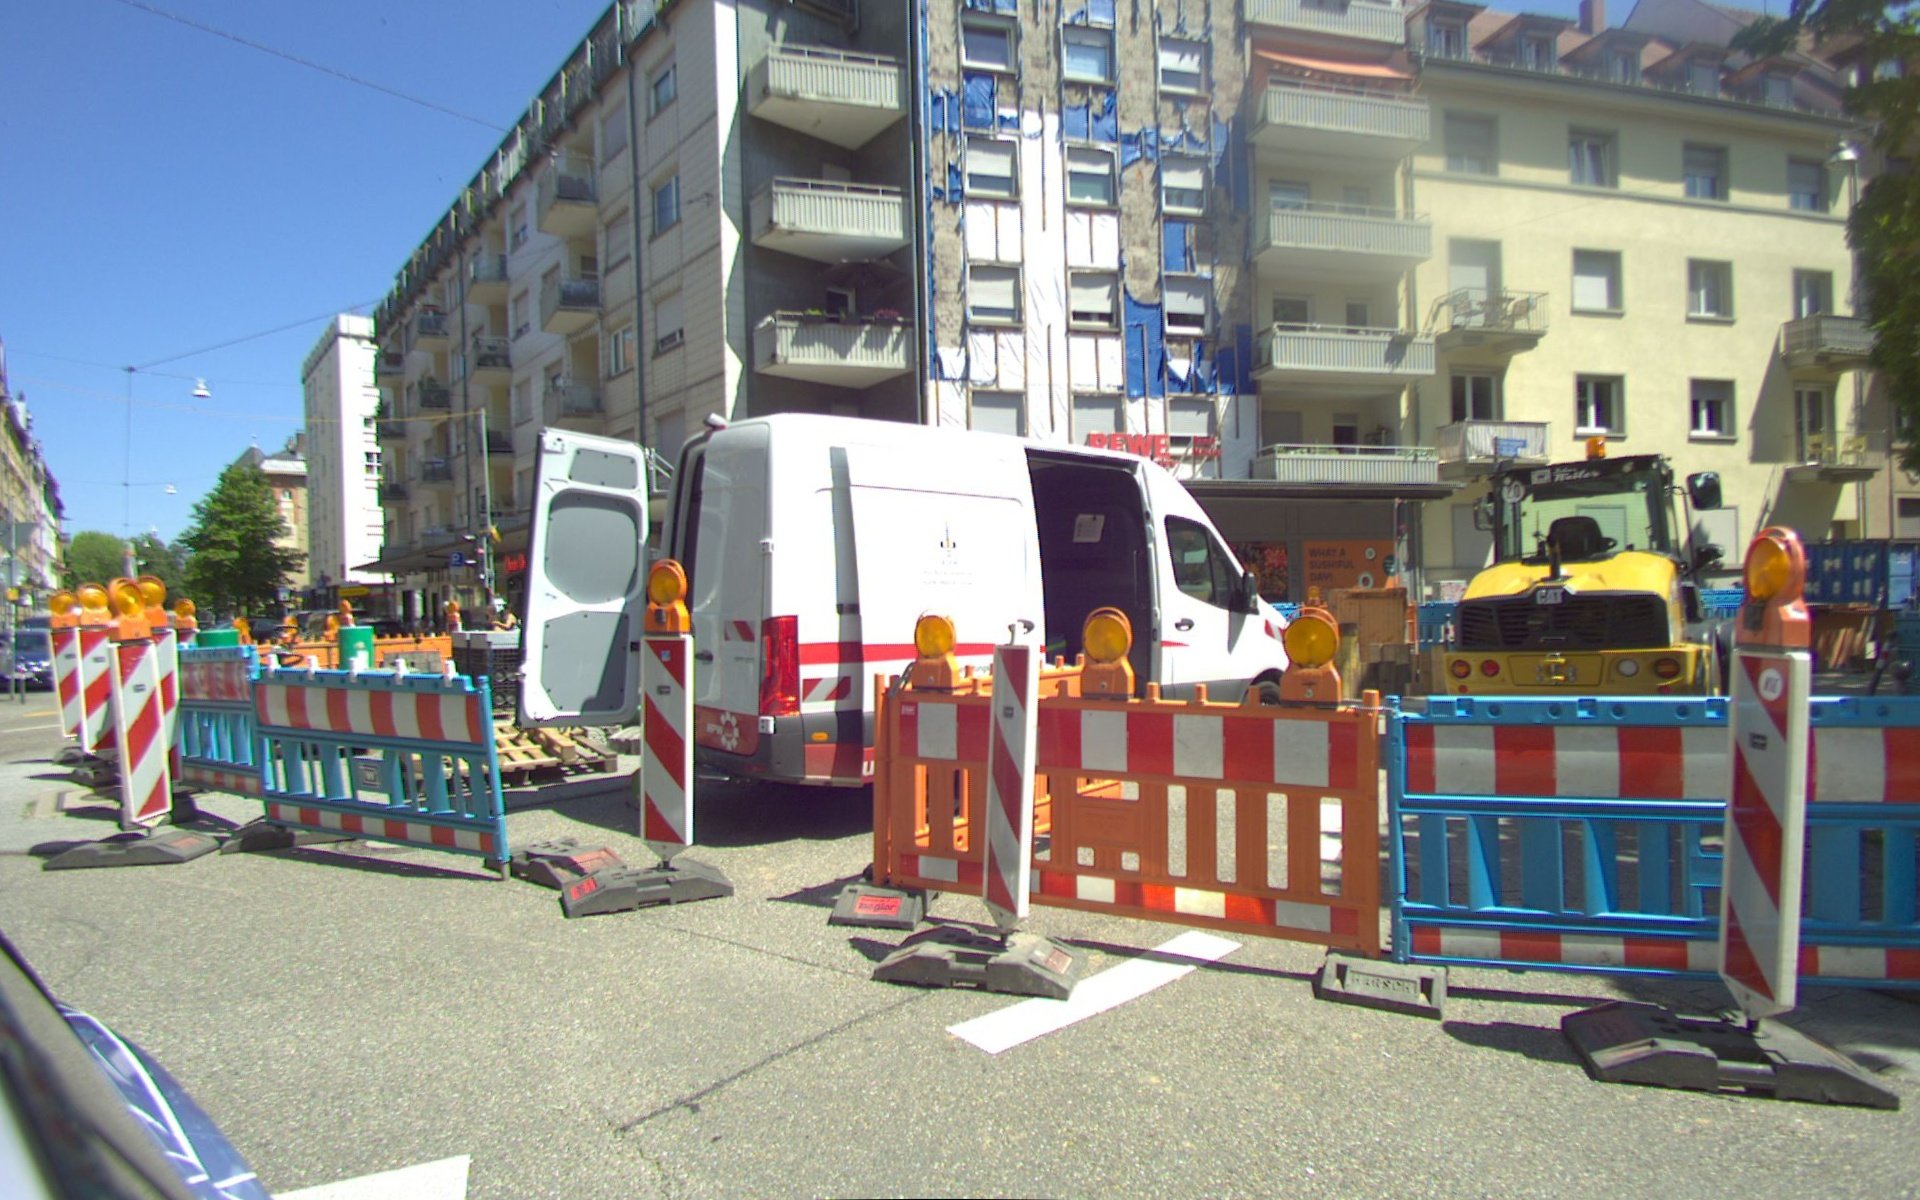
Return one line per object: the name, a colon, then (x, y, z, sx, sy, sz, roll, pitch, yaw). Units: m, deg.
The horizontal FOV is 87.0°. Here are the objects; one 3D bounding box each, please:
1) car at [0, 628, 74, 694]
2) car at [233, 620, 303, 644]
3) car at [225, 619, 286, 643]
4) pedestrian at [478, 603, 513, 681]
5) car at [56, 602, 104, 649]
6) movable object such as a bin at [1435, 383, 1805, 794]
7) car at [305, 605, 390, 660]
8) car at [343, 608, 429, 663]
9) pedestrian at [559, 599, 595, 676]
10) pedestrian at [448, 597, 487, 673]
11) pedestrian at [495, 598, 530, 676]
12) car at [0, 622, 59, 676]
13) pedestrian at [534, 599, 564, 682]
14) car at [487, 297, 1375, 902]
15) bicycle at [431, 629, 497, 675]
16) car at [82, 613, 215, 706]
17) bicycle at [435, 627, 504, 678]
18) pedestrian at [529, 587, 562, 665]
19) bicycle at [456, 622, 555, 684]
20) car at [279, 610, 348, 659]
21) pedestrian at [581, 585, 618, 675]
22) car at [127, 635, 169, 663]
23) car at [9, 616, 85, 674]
car: (-22.562, 1.419, 24.311, 1.606, 1.443, 3.668, 0, -1, -36)
car: (-48.077, 2.207, 70.330, 3.827, 1.540, 1.655, -2, 0, -40)
car: (-55.996, 2.428, 80.476, 3.827, 1.760, 1.655, -2, 0, -40)
pedestrian: (-10.022, 0.900, 21.843, 0.534, 1.645, 0.512, -1, 0, -42)
car: (-55.102, 1.594, 63.447, 2.037, 2.722, 5.047, -4, 1, -40)
movable object such as a bin: (6.001, -0.096, 8.927, 1.955, 2.679, 4.494, -2, 0, 43)
car: (-22.773, 1.202, 37.532, 1.767, 1.825, 4.704, -3, 1, -42)
car: (-18.419, 1.112, 32.382, 1.649, 1.536, 4.472, -3, 1, -39)
pedestrian: (-8.375, 0.818, 22.122, 0.503, 1.645, 0.600, -1, 0, -42)
pedestrian: (-11.582, 0.810, 23.805, 0.648, 1.740, 0.633, -1, 0, -42)
pedestrian: (-9.299, 0.756, 21.047, 0.489, 1.577, 0.460, -4, 0, -13)
car: (-27.020, 1.362, 29.039, 1.704, 1.443, 4.492, 0, -1, -41)
pedestrian: (-8.251, 0.804, 20.319, 0.385, 1.630, 0.476, -1, 0, -42)
car: (0.263, -0.043, 7.615, 6.537, 2.772, 2.384, -1, 0, -38)
bicycle: (-12.758, 1.336, 26.049, 1.431, 1.043, 0.336, -5, 2, -44)
car: (-15.491, 1.064, 19.331, 1.754, 1.480, 4.007, -4, 1, -40)
bicycle: (-12.431, 1.317, 25.676, 1.502, 1.125, 0.336, -5, 2, -44)
pedestrian: (-9.720, 0.600, 23.739, 0.503, 1.784, 0.600, -1, 0, -42)
bicycle: (-9.345, 1.077, 20.864, 1.780, 1.127, 0.469, -3, 0, -18)
car: (-26.923, 1.402, 42.053, 1.766, 1.842, 4.909, -3, 1, -40)
pedestrian: (-7.556, 0.621, 21.187, 0.503, 1.833, 0.600, -1, 0, -42)
car: (-45.716, 2.735, 57.047, 1.721, 1.401, 4.008, -2, 0, -37)
car: (-30.443, 1.446, 33.829, 1.802, 1.780, 4.344, 0, -1, -41)
